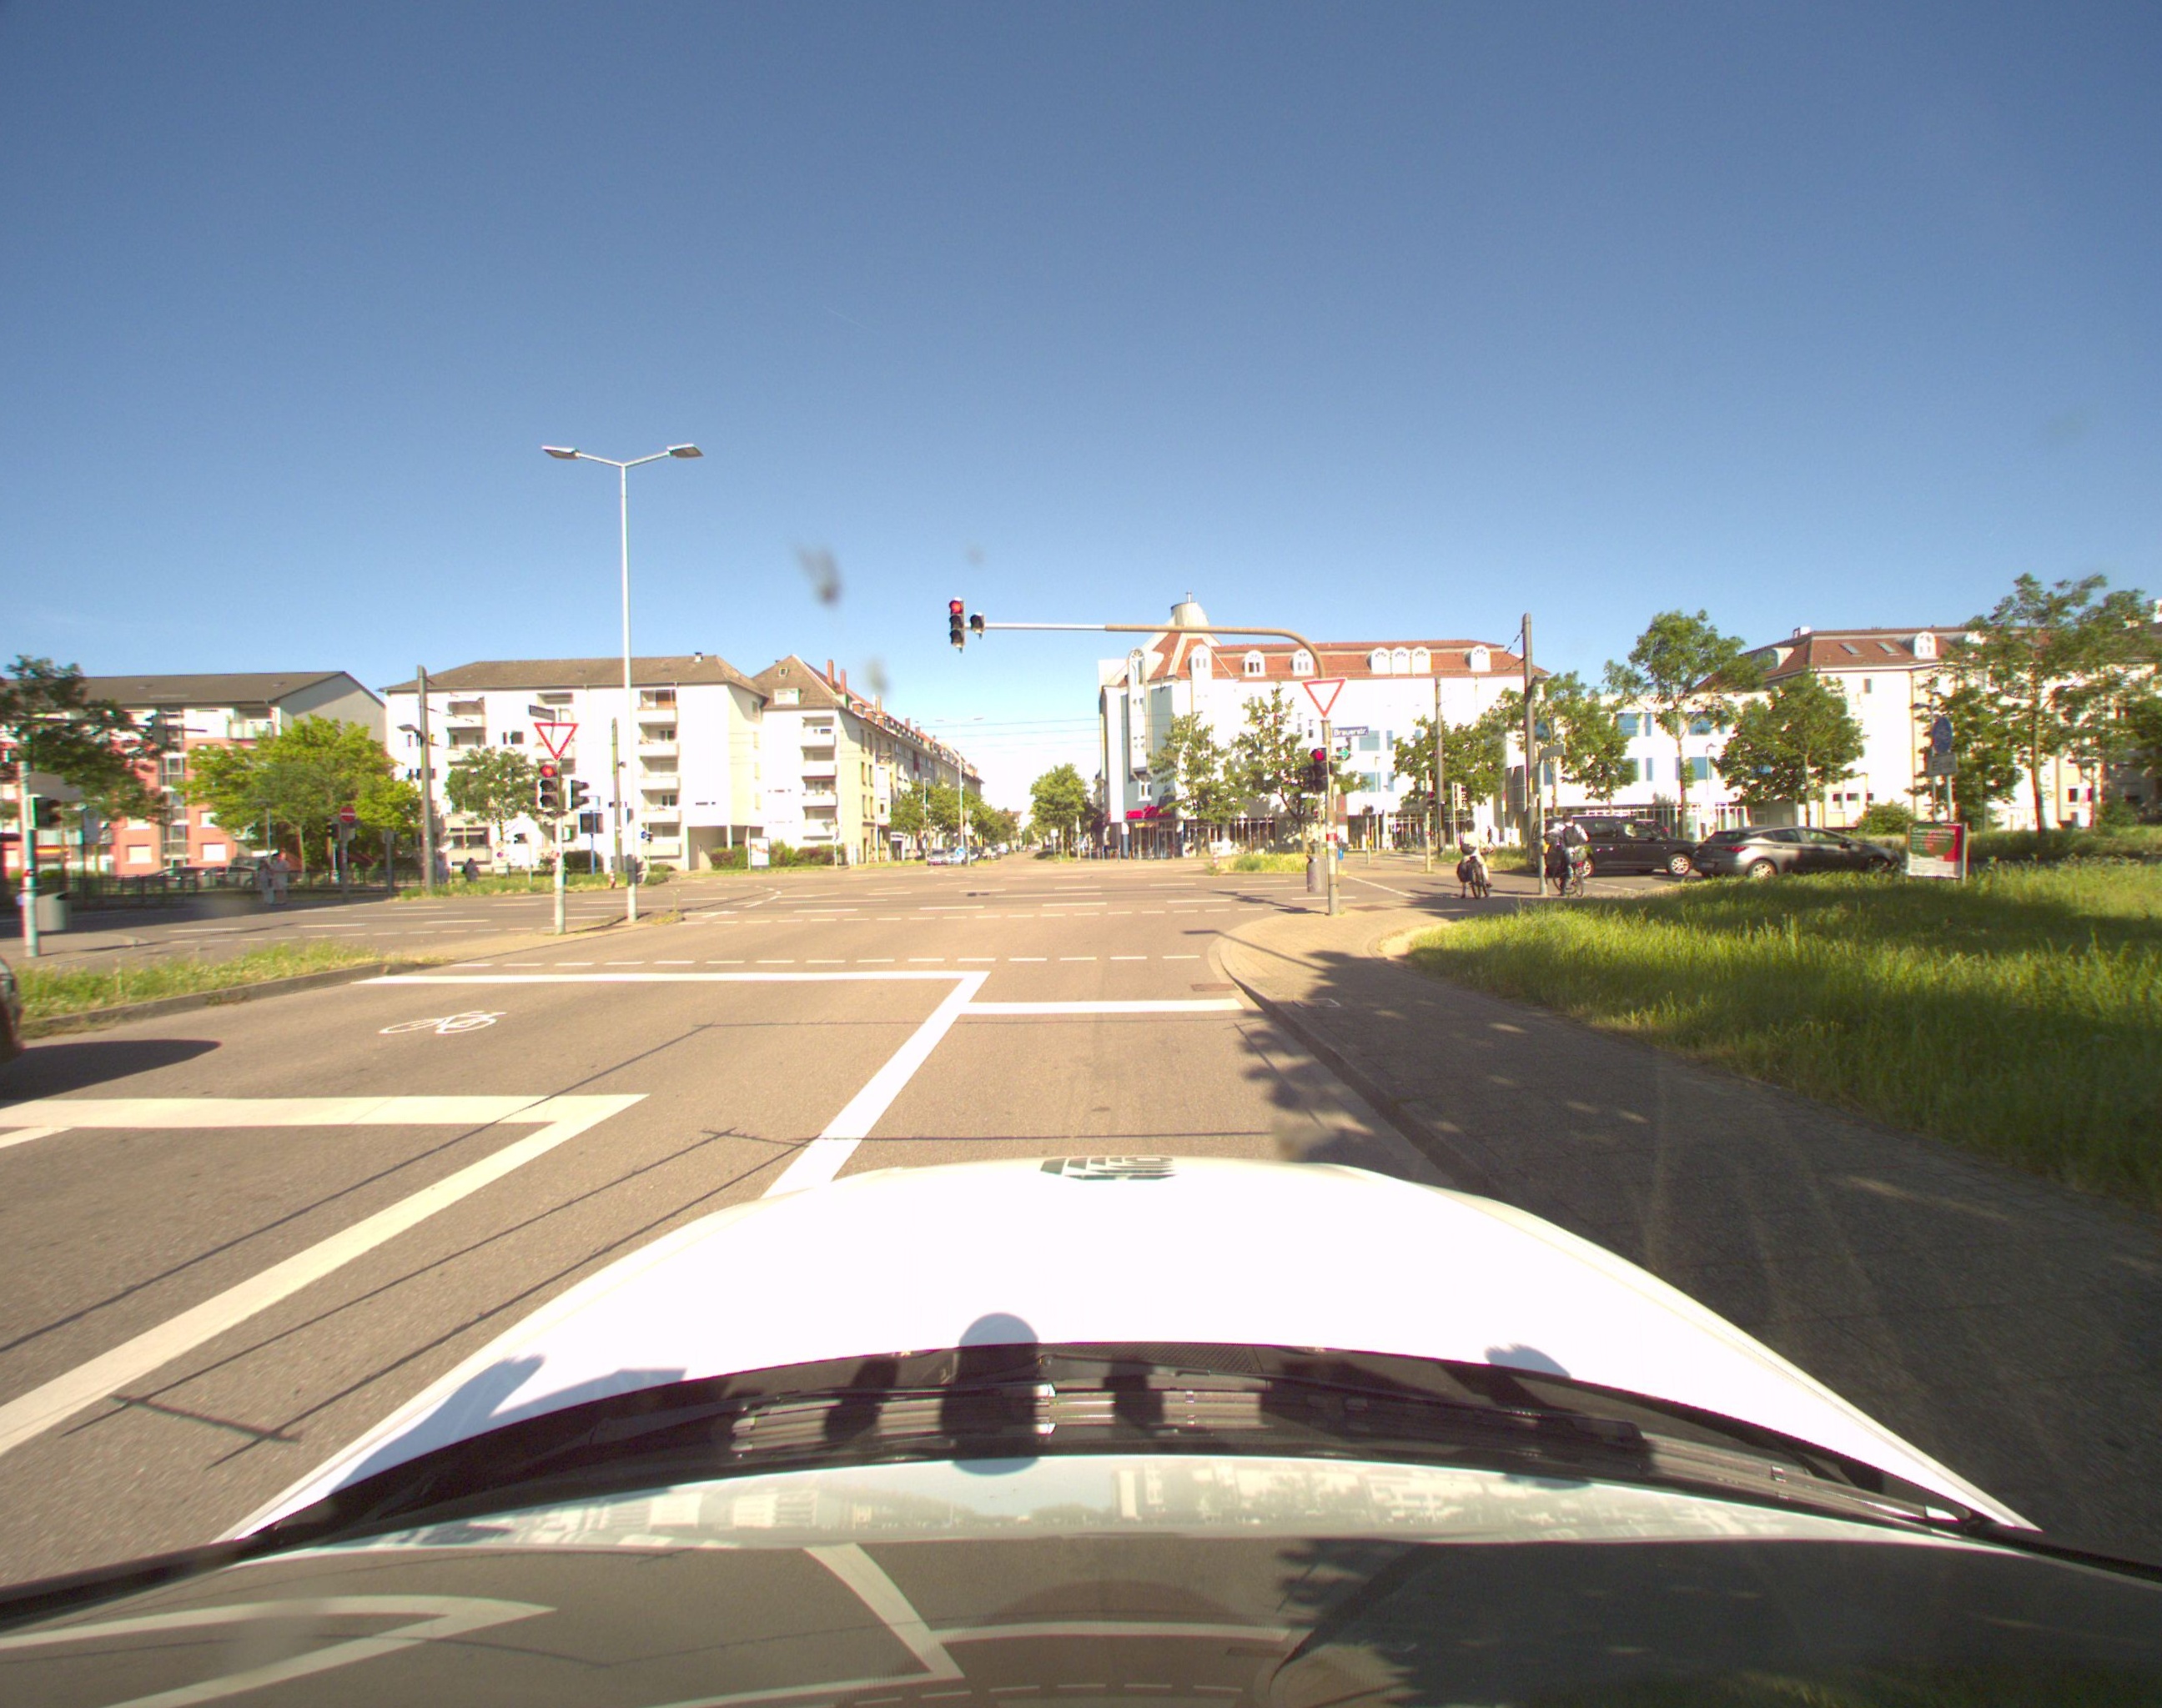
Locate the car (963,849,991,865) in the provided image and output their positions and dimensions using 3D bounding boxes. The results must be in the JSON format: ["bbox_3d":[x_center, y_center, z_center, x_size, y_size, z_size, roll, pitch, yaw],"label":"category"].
[{"bbox_3d":[-9.638,0.237,75.550,1.680,1.432,4.405,1,0,4],"label":"car"}]

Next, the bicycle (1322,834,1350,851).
[{"bbox_3d":[19.018,-0.834,60.760,1.860,1.182,0.561,-2,0,-4],"label":"bicycle"}]

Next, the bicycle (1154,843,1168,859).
[{"bbox_3d":[5.361,-0.179,54.791,0.472,1.027,1.510,-2,1,-12],"label":"bicycle"}]

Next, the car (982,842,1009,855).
[{"bbox_3d":[-14.531,-0.924,138.327,4.494,2.014,1.998,-1,-1,-3],"label":"car"}]

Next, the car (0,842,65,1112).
[{"bbox_3d":[-7.379,0.747,2.955,1.748,1.628,4.477,1,0,0],"label":"car"}]

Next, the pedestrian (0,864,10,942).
[{"bbox_3d":[-24.604,1.118,17.797,0.809,1.726,1.152,-2,0,-5],"label":"pedestrian"}]

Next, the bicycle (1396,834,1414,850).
[{"bbox_3d":[24.731,-0.946,62.262,0.559,1.182,1.869,-2,1,-1],"label":"bicycle"}]

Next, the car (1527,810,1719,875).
[{"bbox_3d":[15.881,-0.329,24.041,4.462,1.800,1.766,1,0,4],"label":"car"}]

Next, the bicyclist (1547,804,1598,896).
[{"bbox_3d":[10.833,-0.091,17.941,0.782,1.959,1.017,-2,0,38],"label":"bicyclist"}]

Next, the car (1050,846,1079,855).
[{"bbox_3d":[-2.182,-0.457,107.491,3.565,1.223,1.726,-1,0,-8],"label":"car"}]

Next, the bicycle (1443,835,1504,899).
[{"bbox_3d":[8.979,0.280,18.586,0.782,1.347,2.092,-2,1,38],"label":"bicycle"}]

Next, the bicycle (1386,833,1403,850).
[{"bbox_3d":[23.831,-0.947,61.949,0.559,1.182,1.869,-2,1,-1],"label":"bicycle"}]

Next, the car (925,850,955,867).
[{"bbox_3d":[-12.449,0.378,72.136,1.681,1.432,4.403,1,0,3],"label":"car"}]

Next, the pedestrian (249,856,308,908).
[{"bbox_3d":[-28.721,0.978,29.154,0.919,1.770,1.152,-2,0,-5],"label":"pedestrian"}]

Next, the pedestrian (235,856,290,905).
[{"bbox_3d":[-30.045,0.960,29.899,0.809,1.726,1.152,-2,0,-5],"label":"pedestrian"}]

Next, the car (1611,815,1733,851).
[{"bbox_3d":[29.452,-1.046,40.712,4.474,1.609,2.005,-2,0,9],"label":"car"}]

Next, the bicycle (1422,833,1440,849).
[{"bbox_3d":[26.596,-0.973,61.853,0.558,1.182,1.871,-2,1,2],"label":"bicycle"}]

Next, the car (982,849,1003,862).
[{"bbox_3d":[-9.876,0.158,91.155,1.681,1.432,4.403,1,0,3],"label":"car"}]

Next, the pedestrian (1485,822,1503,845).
[{"bbox_3d":[31.460,-1.534,62.100,0.987,1.723,0.654,-2,0,-1],"label":"pedestrian"}]

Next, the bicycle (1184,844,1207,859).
[{"bbox_3d":[7.941,-0.187,56.539,1.501,1.027,0.474,-2,0,10],"label":"bicycle"}]

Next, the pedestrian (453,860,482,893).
[{"bbox_3d":[-29.434,1.082,39.082,0.723,1.533,0.857,-2,0,-5],"label":"pedestrian"}]

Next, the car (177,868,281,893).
[{"bbox_3d":[-54.324,1.674,51.999,1.672,1.432,4.427,1,0,38],"label":"car"}]

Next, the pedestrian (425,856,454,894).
[{"bbox_3d":[-30.336,1.002,38.507,1.139,1.726,0.818,-2,1,42],"label":"pedestrian"}]

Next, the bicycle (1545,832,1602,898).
[{"bbox_3d":[10.962,0.220,18.085,0.782,1.347,2.277,-2,1,38],"label":"bicycle"}]

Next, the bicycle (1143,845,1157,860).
[{"bbox_3d":[4.588,-0.103,54.269,0.471,1.027,1.511,-2,1,-11],"label":"bicycle"}]

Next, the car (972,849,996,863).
[{"bbox_3d":[-9.678,0.183,81.689,1.681,1.432,4.403,1,0,3],"label":"car"}]

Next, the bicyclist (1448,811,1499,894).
[{"bbox_3d":[8.931,-0.034,18.515,0.782,1.824,1.143,-2,0,38],"label":"bicyclist"}]

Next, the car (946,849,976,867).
[{"bbox_3d":[-10.144,0.329,69.024,1.681,1.432,4.403,1,0,3],"label":"car"}]

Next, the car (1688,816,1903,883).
[{"bbox_3d":[17.798,-0.110,20.428,3.842,1.577,1.695,1,0,3],"label":"car"}]
